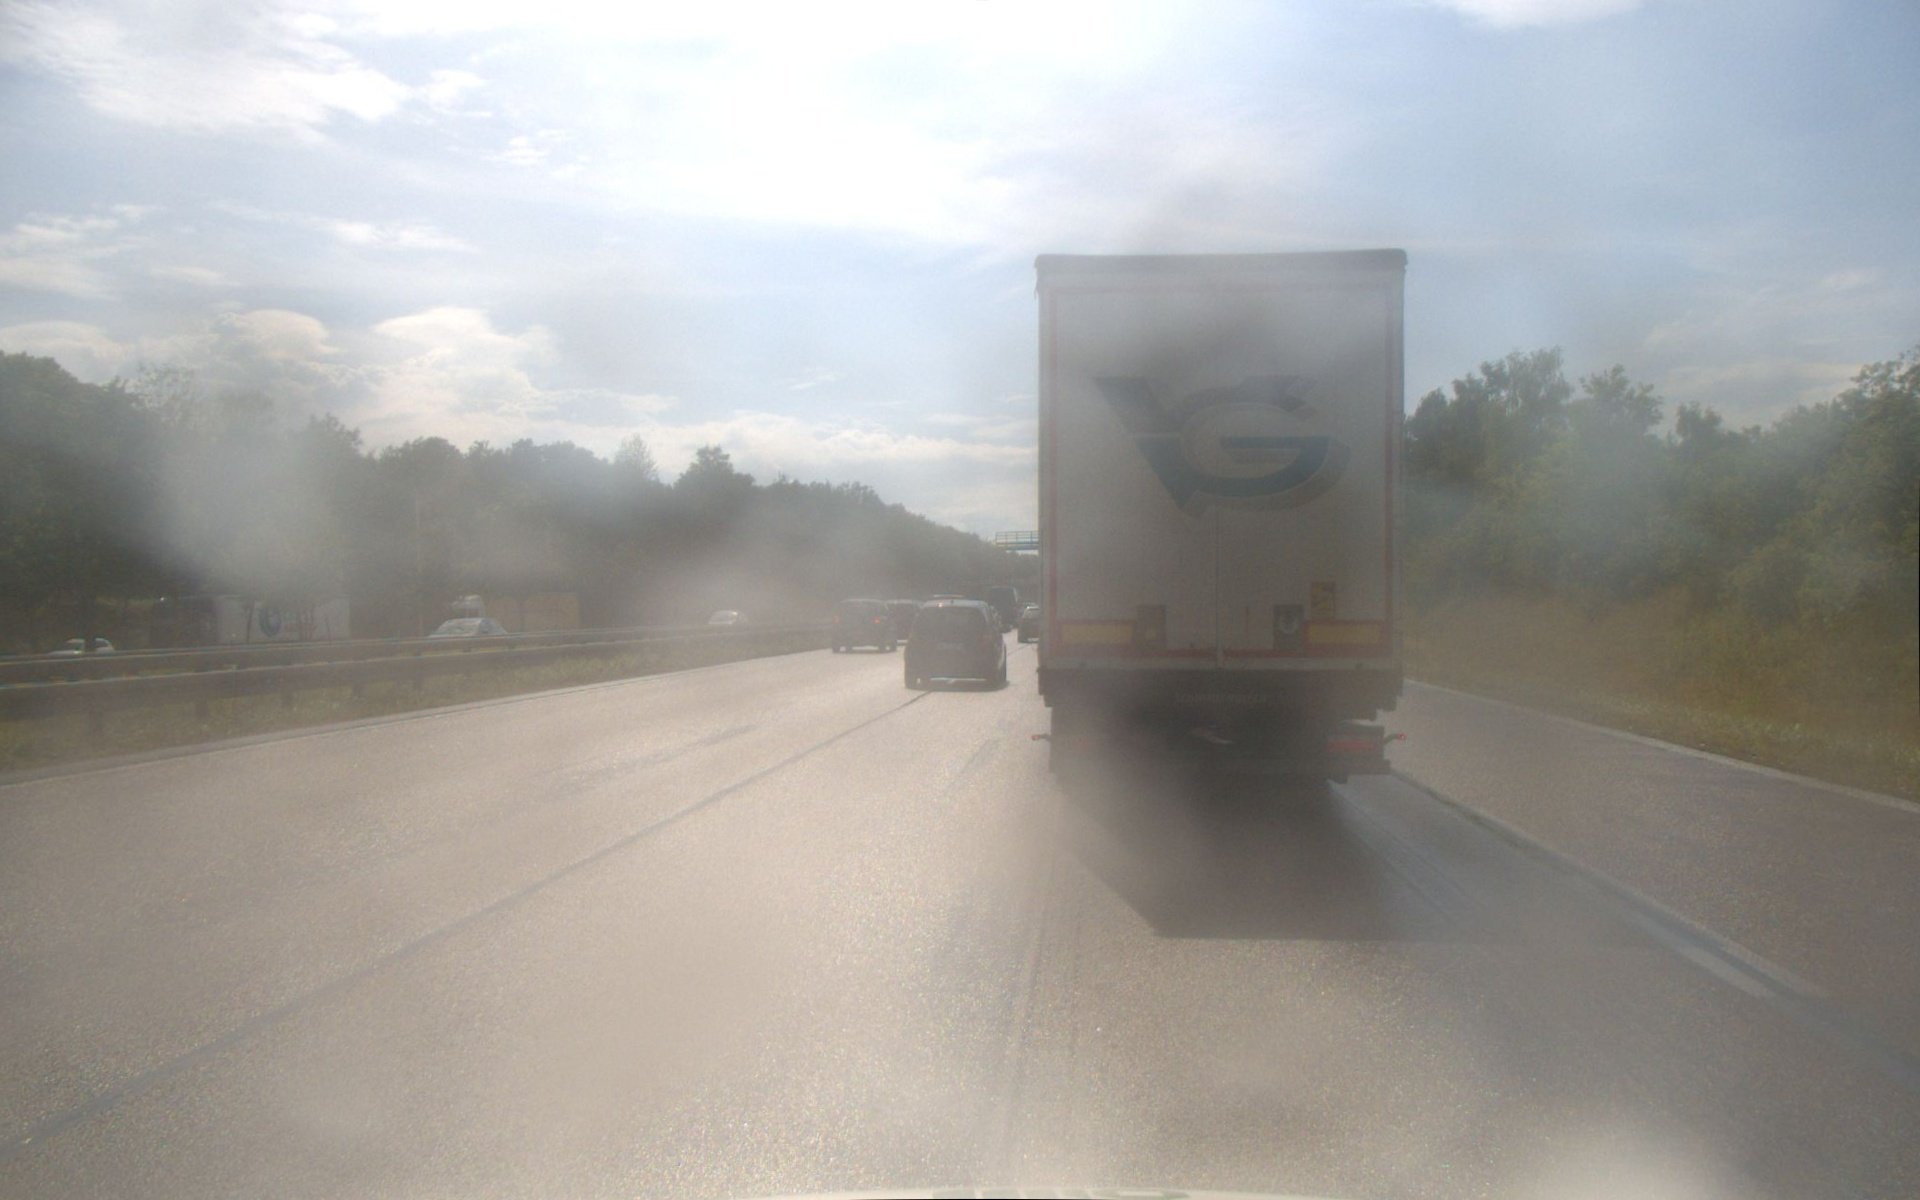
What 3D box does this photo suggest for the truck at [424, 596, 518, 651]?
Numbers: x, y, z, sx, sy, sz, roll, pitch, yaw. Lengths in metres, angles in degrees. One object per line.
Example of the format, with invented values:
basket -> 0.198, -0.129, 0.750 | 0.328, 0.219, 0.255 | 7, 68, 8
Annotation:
truck -> -38.384, 1.818, 130.006 | 3.708, 4.189, 7.048 | 0, -1, 18

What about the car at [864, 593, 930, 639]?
car -> -2.381, 0.613, 63.564 | 1.868, 1.665, 4.619 | -1, -1, 6

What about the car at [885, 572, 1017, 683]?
car -> -0.079, 0.521, 32.205 | 2.226, 1.989, 4.823 | 0, -1, 4

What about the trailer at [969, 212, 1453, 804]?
trailer -> 2.208, -0.613, 18.245 | 3.214, 3.967, 14.135 | 1, 0, 4

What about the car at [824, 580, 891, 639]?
car -> -3.269, 0.315, 53.364 | 1.657, 1.836, 3.977 | 0, -1, 3

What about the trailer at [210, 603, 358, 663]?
trailer -> -44.224, 2.079, 108.727 | 3.708, 3.713, 10.506 | -1, 0, 12

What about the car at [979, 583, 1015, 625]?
car -> 2.484, 0.287, 109.756 | 1.951, 2.661, 5.262 | 0, -1, 6

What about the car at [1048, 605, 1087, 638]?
car -> 5.164, 1.041, 79.783 | 1.826, 1.542, 3.977 | 0, -1, 3

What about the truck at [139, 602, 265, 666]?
truck -> -45.896, 2.021, 100.373 | 3.707, 3.724, 6.710 | 0, -1, 10

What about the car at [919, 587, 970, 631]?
car -> -0.727, 0.448, 80.105 | 1.937, 2.090, 4.759 | 0, -1, 6

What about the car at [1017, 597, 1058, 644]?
car -> 3.221, 0.847, 68.385 | 1.657, 1.836, 3.977 | 0, -1, 3

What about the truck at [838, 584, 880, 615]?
truck -> -9.210, -0.048, 151.569 | 2.782, 2.729, 7.196 | 0, -1, 5

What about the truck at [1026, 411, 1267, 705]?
truck -> 2.759, -0.566, 25.652 | 3.215, 3.959, 6.399 | 1, 0, 4

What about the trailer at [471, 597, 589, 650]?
trailer -> -35.724, 1.931, 138.011 | 3.708, 4.189, 11.730 | 0, -1, 18

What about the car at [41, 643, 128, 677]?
car -> -47.864, 3.241, 90.487 | 2.015, 1.748, 4.371 | 0, -1, 8
